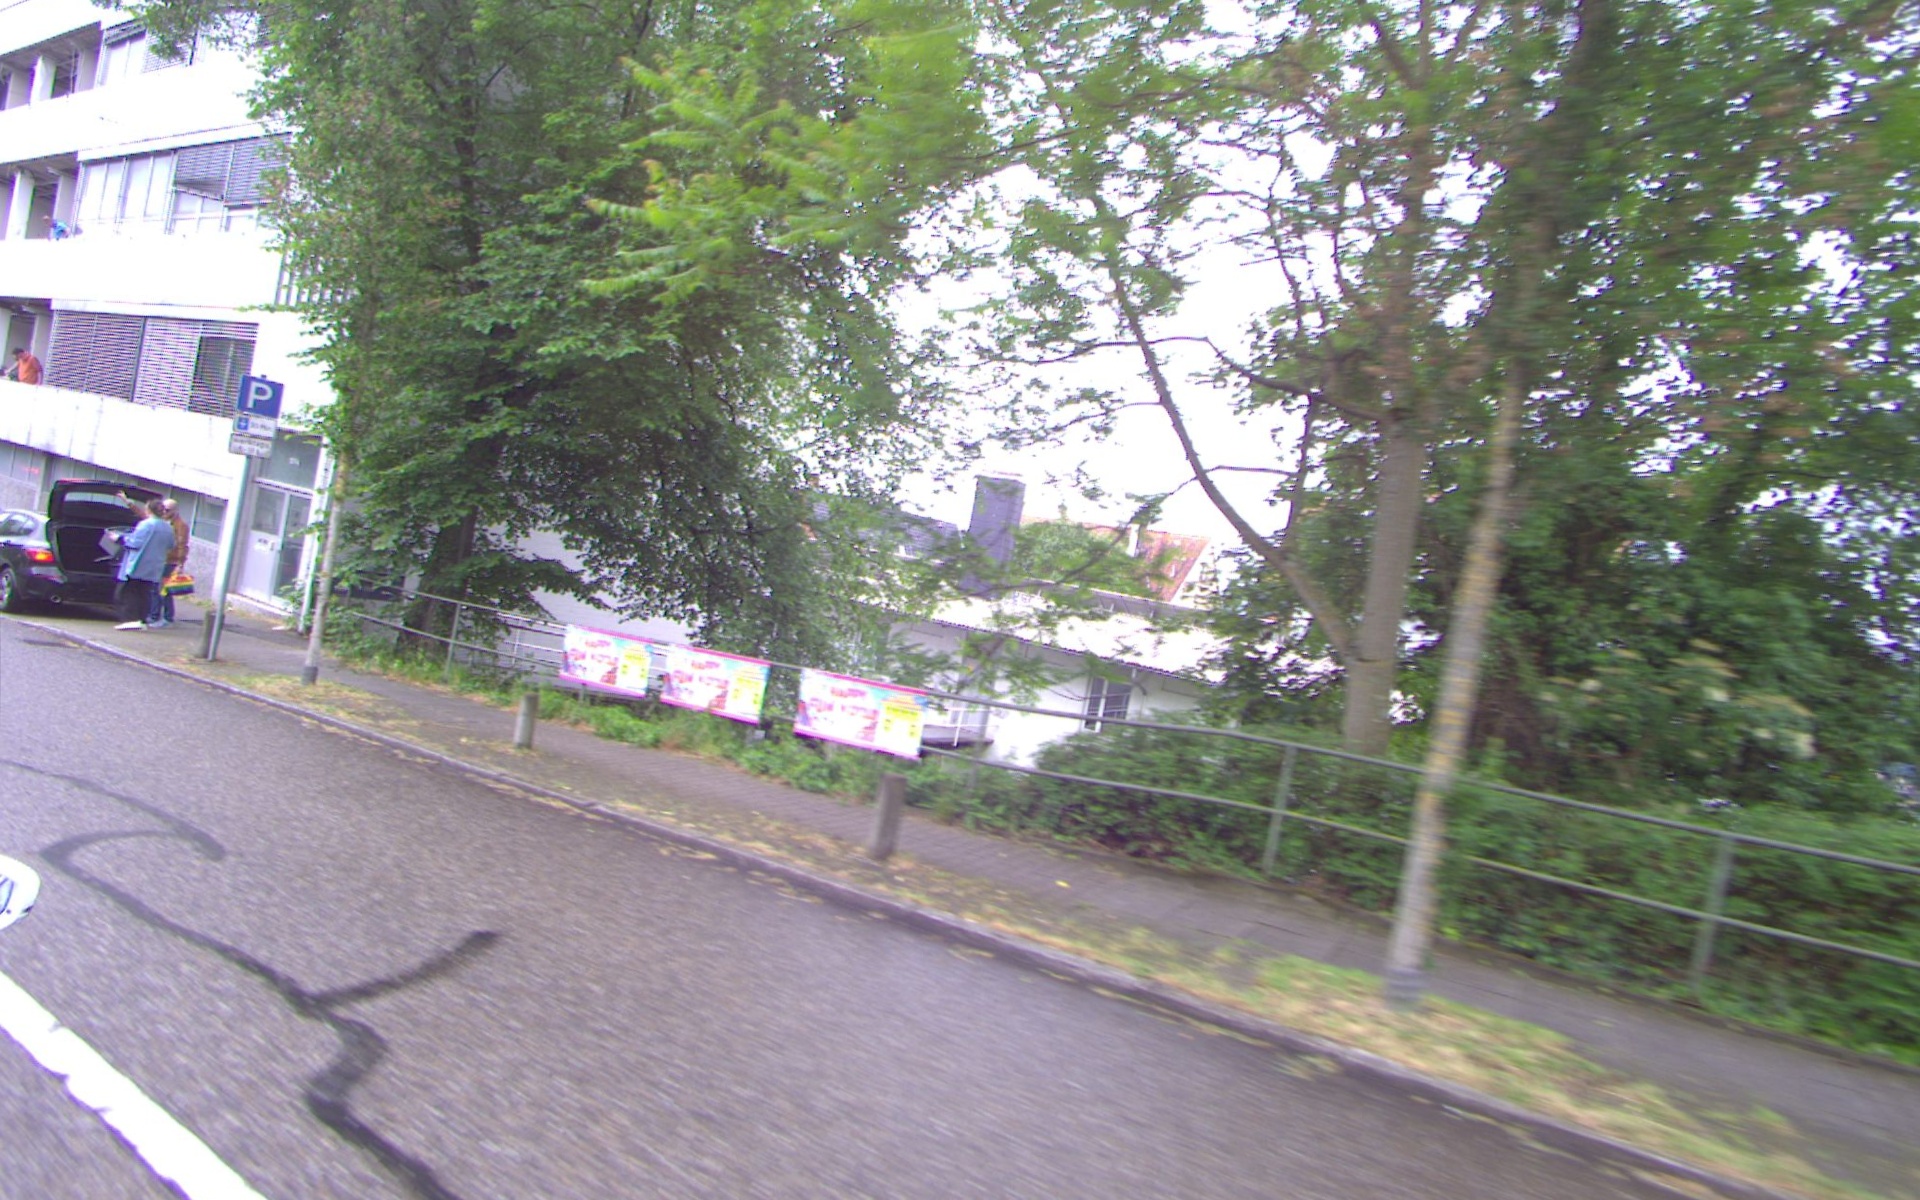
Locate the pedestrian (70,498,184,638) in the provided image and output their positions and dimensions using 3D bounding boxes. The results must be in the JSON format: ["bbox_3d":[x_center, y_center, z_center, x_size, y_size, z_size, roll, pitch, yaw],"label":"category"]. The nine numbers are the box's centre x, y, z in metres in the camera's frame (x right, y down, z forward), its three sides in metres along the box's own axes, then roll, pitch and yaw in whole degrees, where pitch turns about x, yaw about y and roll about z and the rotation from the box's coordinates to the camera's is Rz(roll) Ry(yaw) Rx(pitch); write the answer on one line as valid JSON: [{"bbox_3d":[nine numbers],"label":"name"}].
[{"bbox_3d":[-11.196,-0.410,13.540,0.723,1.746,0.765,8,2,10],"label":"pedestrian"}]

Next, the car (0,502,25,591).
[{"bbox_3d":[-18.559,-1.213,17.958,3.934,1.481,1.684,8,0,32],"label":"car"}]

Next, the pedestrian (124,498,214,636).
[{"bbox_3d":[-11.311,-0.467,14.403,0.656,1.860,0.686,7,2,-18],"label":"pedestrian"}]

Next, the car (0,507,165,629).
[{"bbox_3d":[-13.777,-0.572,15.040,3.932,1.452,1.507,7,-1,30],"label":"car"}]
